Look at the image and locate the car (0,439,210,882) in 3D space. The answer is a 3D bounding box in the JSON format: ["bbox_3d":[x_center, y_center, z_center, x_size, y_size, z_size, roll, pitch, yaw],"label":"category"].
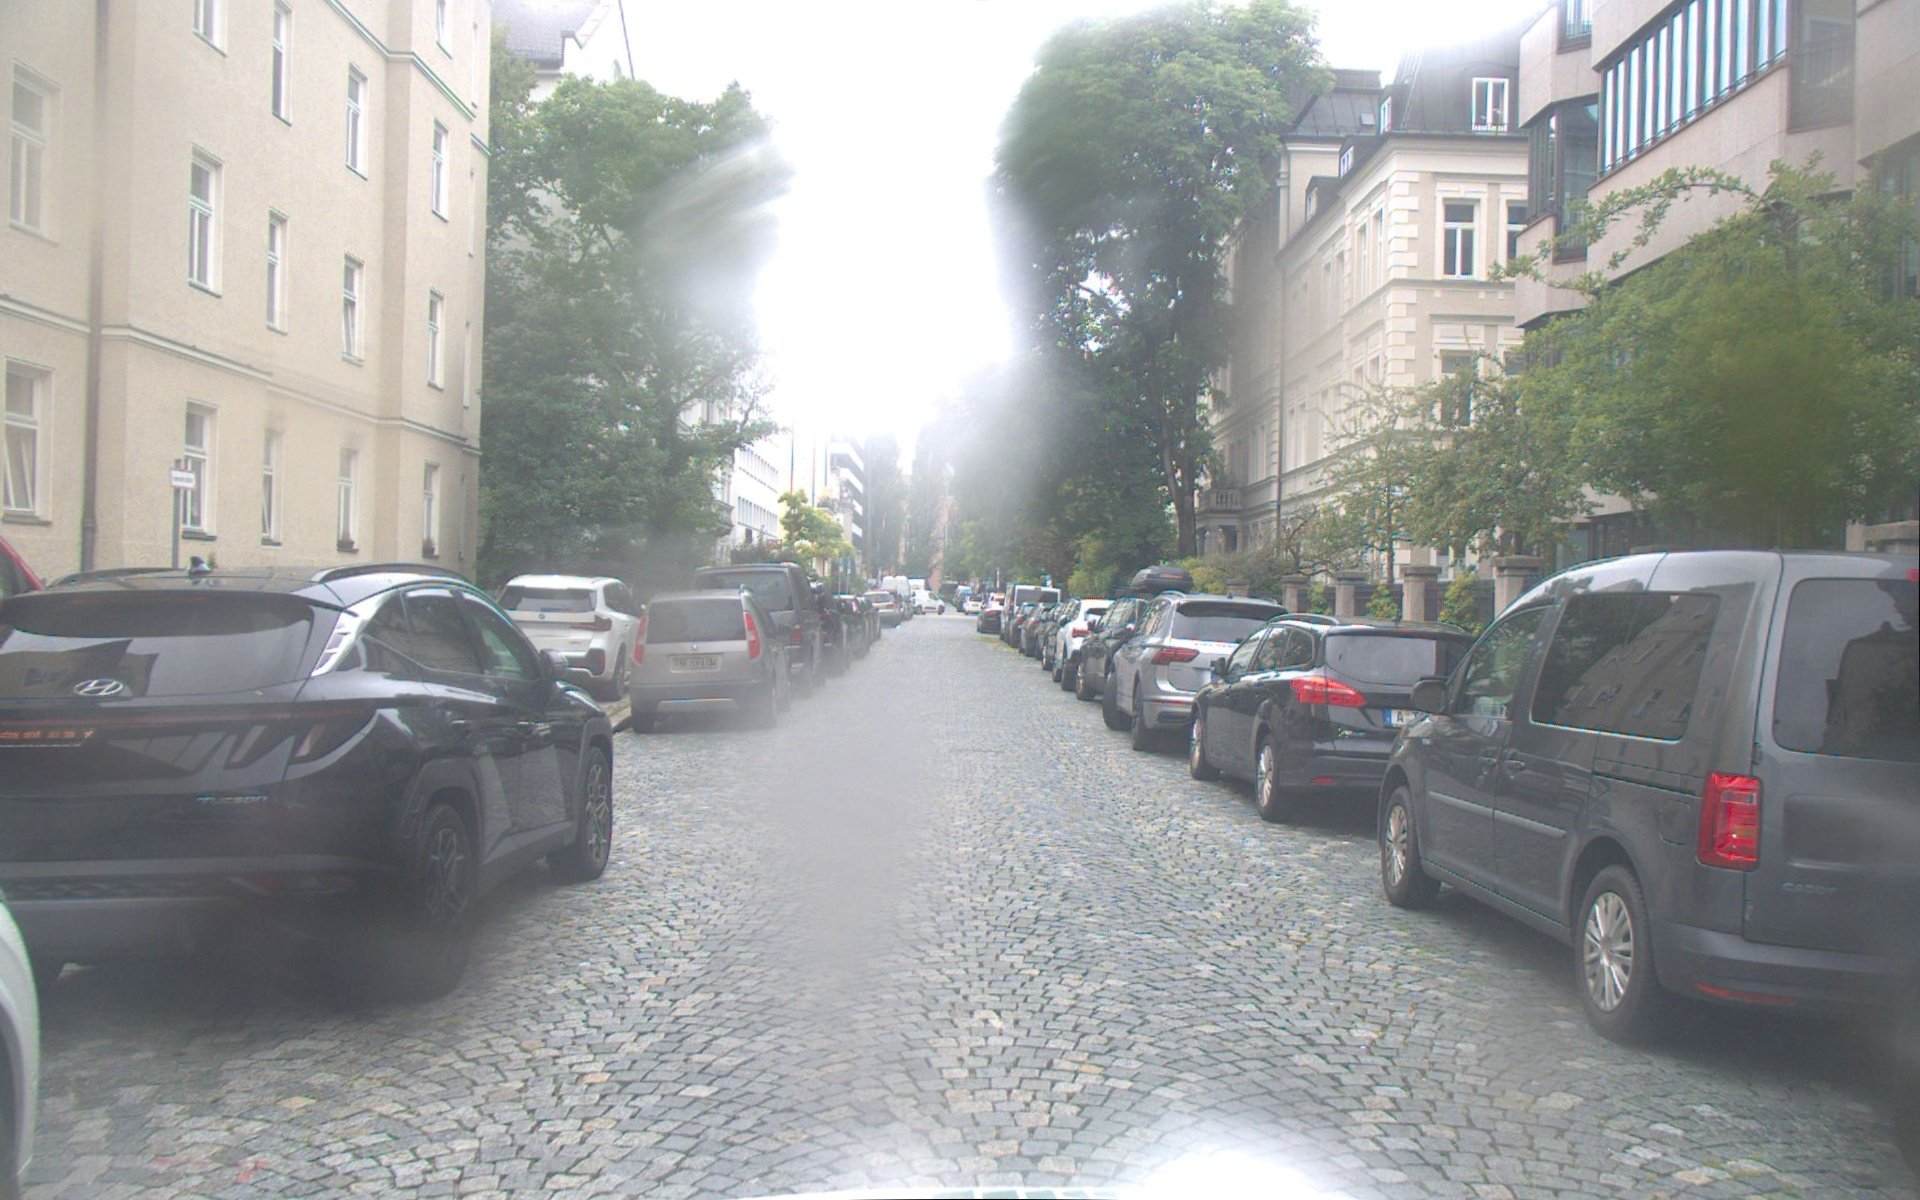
[{"bbox_3d":[-5.190,0.224,6.654,1.954,1.964,5.328,3,0,-2],"label":"car"}]

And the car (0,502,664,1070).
[{"bbox_3d":[-2.769,0.612,7.684,1.878,1.765,4.755,-2,0,0],"label":"car"}]

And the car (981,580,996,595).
[{"bbox_3d":[3.991,-1.794,233.818,1.953,2.049,3.999,2,-1,0],"label":"car"}]

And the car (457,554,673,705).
[{"bbox_3d":[-5.387,0.370,23.221,1.906,1.765,4.656,4,0,-2],"label":"car"}]

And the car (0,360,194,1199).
[{"bbox_3d":[-2.711,0.487,1.121,1.965,1.840,5.174,0,0,0],"label":"car"}]

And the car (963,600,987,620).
[{"bbox_3d":[1.177,0.794,130.832,1.753,1.547,4.000,2,0,0],"label":"car"}]

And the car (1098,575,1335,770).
[{"bbox_3d":[2.681,0.707,18.407,1.835,1.765,4.892,4,0,1],"label":"car"}]

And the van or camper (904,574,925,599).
[{"bbox_3d":[-5.314,-1.586,194.194,2.210,2.790,5.097,2,0,-1],"label":"van or camper"}]

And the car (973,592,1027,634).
[{"bbox_3d":[1.647,0.518,69.156,1.836,1.529,4.509,4,0,-3],"label":"car"}]

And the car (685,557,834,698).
[{"bbox_3d":[-2.989,0.383,25.584,1.835,1.951,4.826,-1,0,-2],"label":"car"}]

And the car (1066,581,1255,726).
[{"bbox_3d":[2.818,0.702,24.335,1.836,1.765,4.745,5,0,-3],"label":"car"}]

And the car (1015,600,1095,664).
[{"bbox_3d":[2.495,0.822,44.446,1.679,1.498,4.267,4,0,-2],"label":"car"}]

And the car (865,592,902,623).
[{"bbox_3d":[-3.830,0.359,82.917,1.836,1.476,4.205,0,0,-3],"label":"car"}]

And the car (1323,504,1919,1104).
[{"bbox_3d":[3.163,0.693,7.496,1.753,1.827,4.507,5,0,-2],"label":"car"}]

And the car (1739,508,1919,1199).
[{"bbox_3d":[3.091,0.725,2.054,1.823,1.731,4.812,5,0,-1],"label":"car"}]

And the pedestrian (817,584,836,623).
[{"bbox_3d":[-6.761,0.166,83.781,0.776,1.951,0.758,3,0,-1],"label":"pedestrian"}]

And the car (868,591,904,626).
[{"bbox_3d":[-3.965,0.455,89.186,1.835,1.807,4.121,-2,0,-2],"label":"car"}]

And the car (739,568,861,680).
[{"bbox_3d":[-3.013,0.429,32.137,1.953,1.950,5.175,-2,0,-2],"label":"car"}]

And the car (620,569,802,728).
[{"bbox_3d":[-3.005,0.536,20.786,1.828,1.765,4.401,-1,0,-3],"label":"car"}]

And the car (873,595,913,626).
[{"bbox_3d":[-3.834,0.611,94.701,1.834,1.607,4.209,4,0,2],"label":"car"}]

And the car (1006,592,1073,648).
[{"bbox_3d":[2.421,0.597,51.513,1.800,1.516,4.421,4,0,0],"label":"car"}]

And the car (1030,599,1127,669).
[{"bbox_3d":[2.813,0.788,40.058,1.661,1.465,4.057,4,0,-5],"label":"car"}]

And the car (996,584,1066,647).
[{"bbox_3d":[2.386,0.508,57.032,1.836,1.961,5.161,4,0,-3],"label":"car"}]

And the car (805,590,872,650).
[{"bbox_3d":[-3.123,0.502,42.849,1.629,1.469,4.168,1,0,-4],"label":"car"}]

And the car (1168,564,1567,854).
[{"bbox_3d":[3.022,0.731,13.393,1.836,1.764,4.657,5,0,-2],"label":"car"}]

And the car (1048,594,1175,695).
[{"bbox_3d":[2.612,0.718,29.465,1.835,1.516,4.617,4,0,1],"label":"car"}]

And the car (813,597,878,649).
[{"bbox_3d":[-3.421,0.662,50.028,1.747,1.442,4.495,-2,0,-2],"label":"car"}]

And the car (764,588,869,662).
[{"bbox_3d":[-3.194,0.532,37.819,1.938,1.588,5.017,0,0,0],"label":"car"}]

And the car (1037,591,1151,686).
[{"bbox_3d":[2.717,0.753,34.445,1.835,1.698,4.656,4,0,-1],"label":"car"}]

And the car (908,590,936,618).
[{"bbox_3d":[-2.792,0.290,123.525,1.953,2.049,4.000,2,0,0],"label":"car"}]

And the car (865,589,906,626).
[{"bbox_3d":[-3.456,0.339,76.692,1.836,1.607,4.253,-1,0,-3],"label":"car"}]

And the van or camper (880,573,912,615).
[{"bbox_3d":[-4.224,-0.391,109.641,1.953,2.698,4.000,-1,0,0],"label":"van or camper"}]
